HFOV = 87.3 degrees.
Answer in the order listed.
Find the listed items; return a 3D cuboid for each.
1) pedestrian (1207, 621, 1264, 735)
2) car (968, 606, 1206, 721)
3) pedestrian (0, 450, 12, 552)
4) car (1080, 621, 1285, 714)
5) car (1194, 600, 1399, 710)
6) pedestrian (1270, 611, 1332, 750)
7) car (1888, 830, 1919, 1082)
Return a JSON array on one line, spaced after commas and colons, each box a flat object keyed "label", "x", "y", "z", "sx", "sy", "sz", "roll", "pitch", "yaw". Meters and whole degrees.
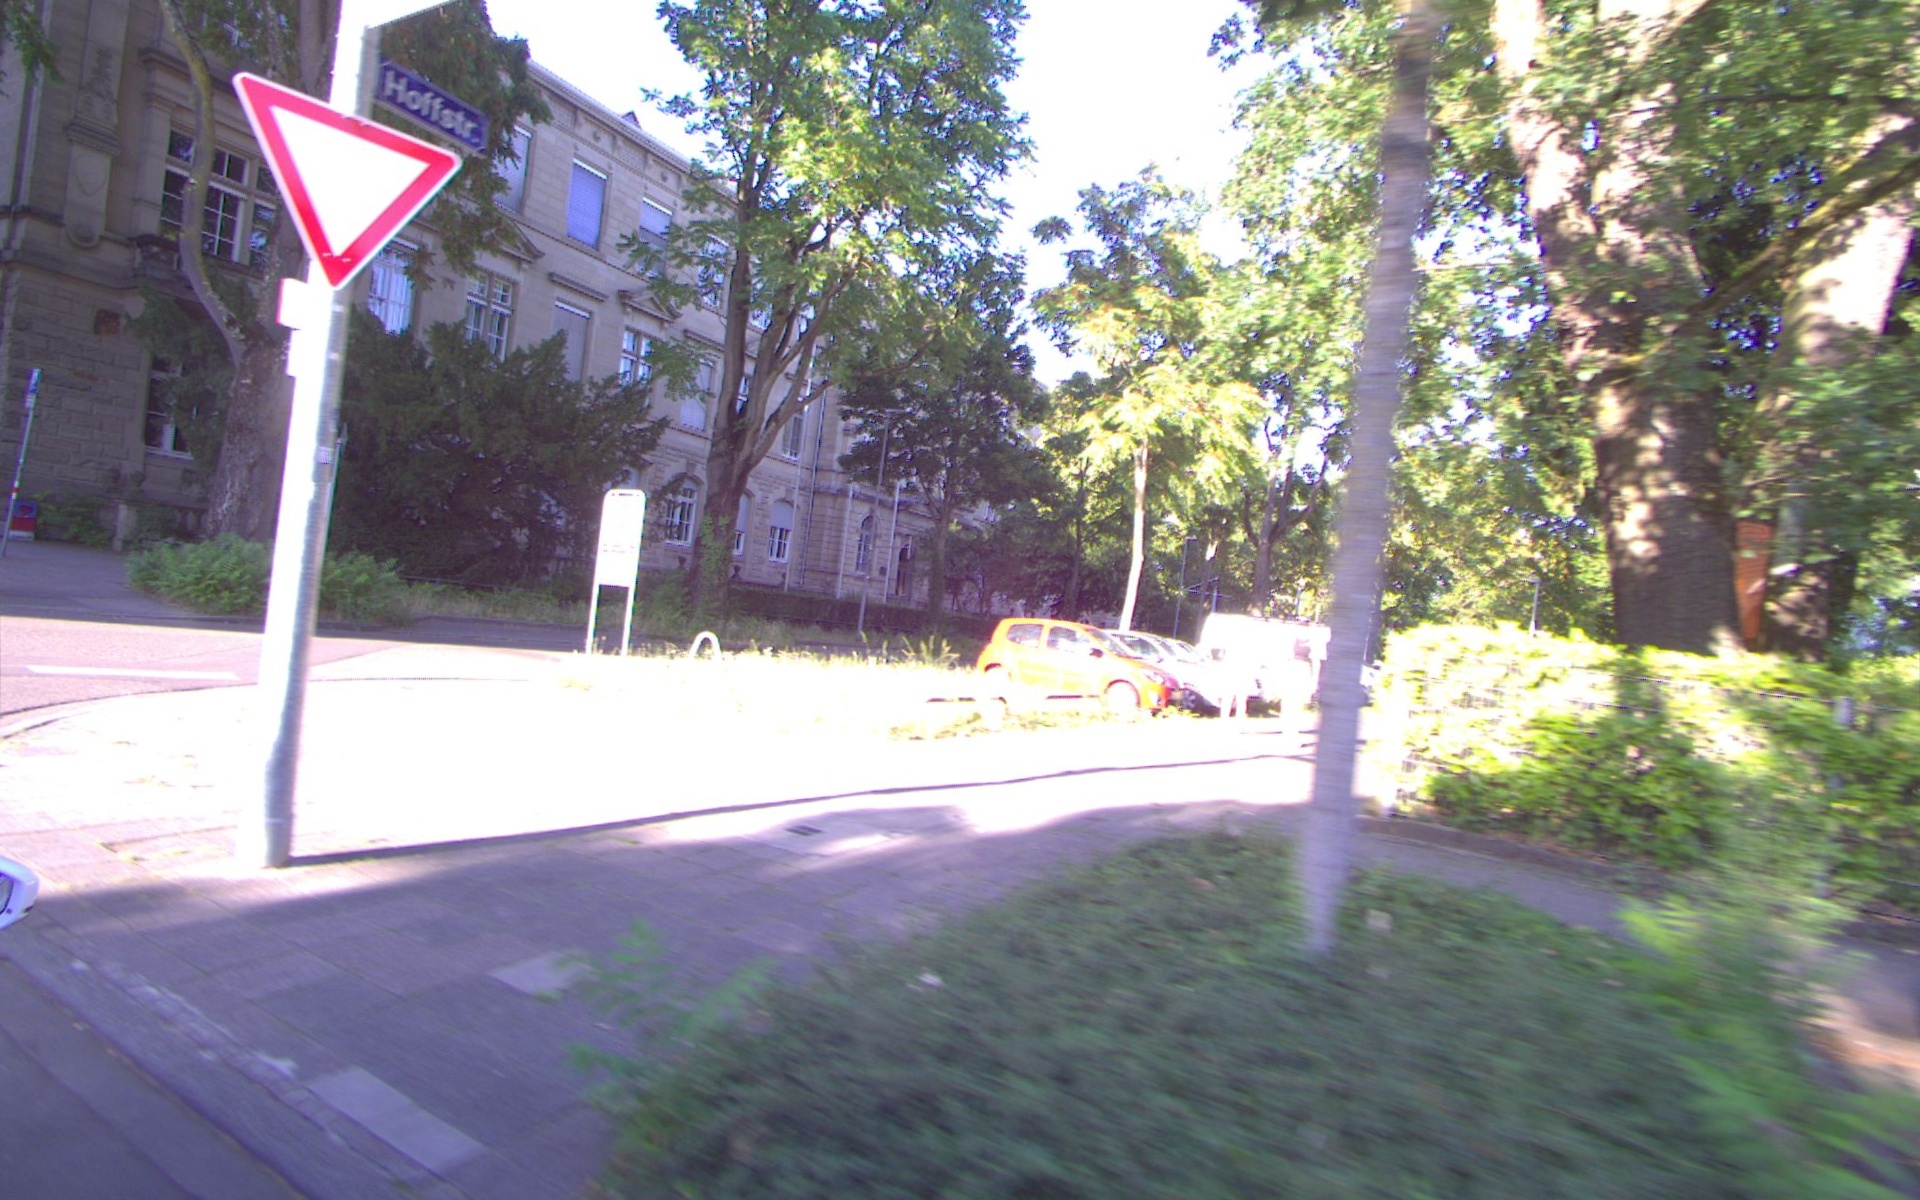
[{"label": "pedestrian", "x": 4.088, "y": 1.156, "z": 14.907, "sx": 0.429, "sy": 1.600, "sz": 0.664, "roll": 7, "pitch": 0, "yaw": 35}, {"label": "car", "x": 2.204, "y": 1.075, "z": 17.582, "sx": 3.617, "sy": 1.437, "sz": 1.716, "roll": 7, "pitch": 0, "yaw": 29}, {"label": "pedestrian", "x": -12.968, "y": -1.045, "z": 12.954, "sx": 0.602, "sy": 1.942, "sz": 0.723, "roll": 7, "pitch": 0, "yaw": 7}, {"label": "car", "x": 4.926, "y": 1.472, "z": 22.378, "sx": 3.990, "sy": 1.437, "sz": 1.716, "roll": 7, "pitch": 0, "yaw": 29}, {"label": "car", "x": 10.962, "y": 1.762, "z": 32.913, "sx": 5.809, "sy": 2.733, "sz": 2.217, "roll": 7, "pitch": 0, "yaw": 29}, {"label": "pedestrian", "x": 4.640, "y": 1.094, "z": 13.682, "sx": 0.429, "sy": 1.796, "sz": 0.664, "roll": 7, "pitch": 0, "yaw": 35}, {"label": "car", "x": 3.781, "y": 1.166, "z": 2.153, "sx": 1.617, "sy": 1.536, "sz": 3.990, "roll": 7, "pitch": 2, "yaw": 30}]
